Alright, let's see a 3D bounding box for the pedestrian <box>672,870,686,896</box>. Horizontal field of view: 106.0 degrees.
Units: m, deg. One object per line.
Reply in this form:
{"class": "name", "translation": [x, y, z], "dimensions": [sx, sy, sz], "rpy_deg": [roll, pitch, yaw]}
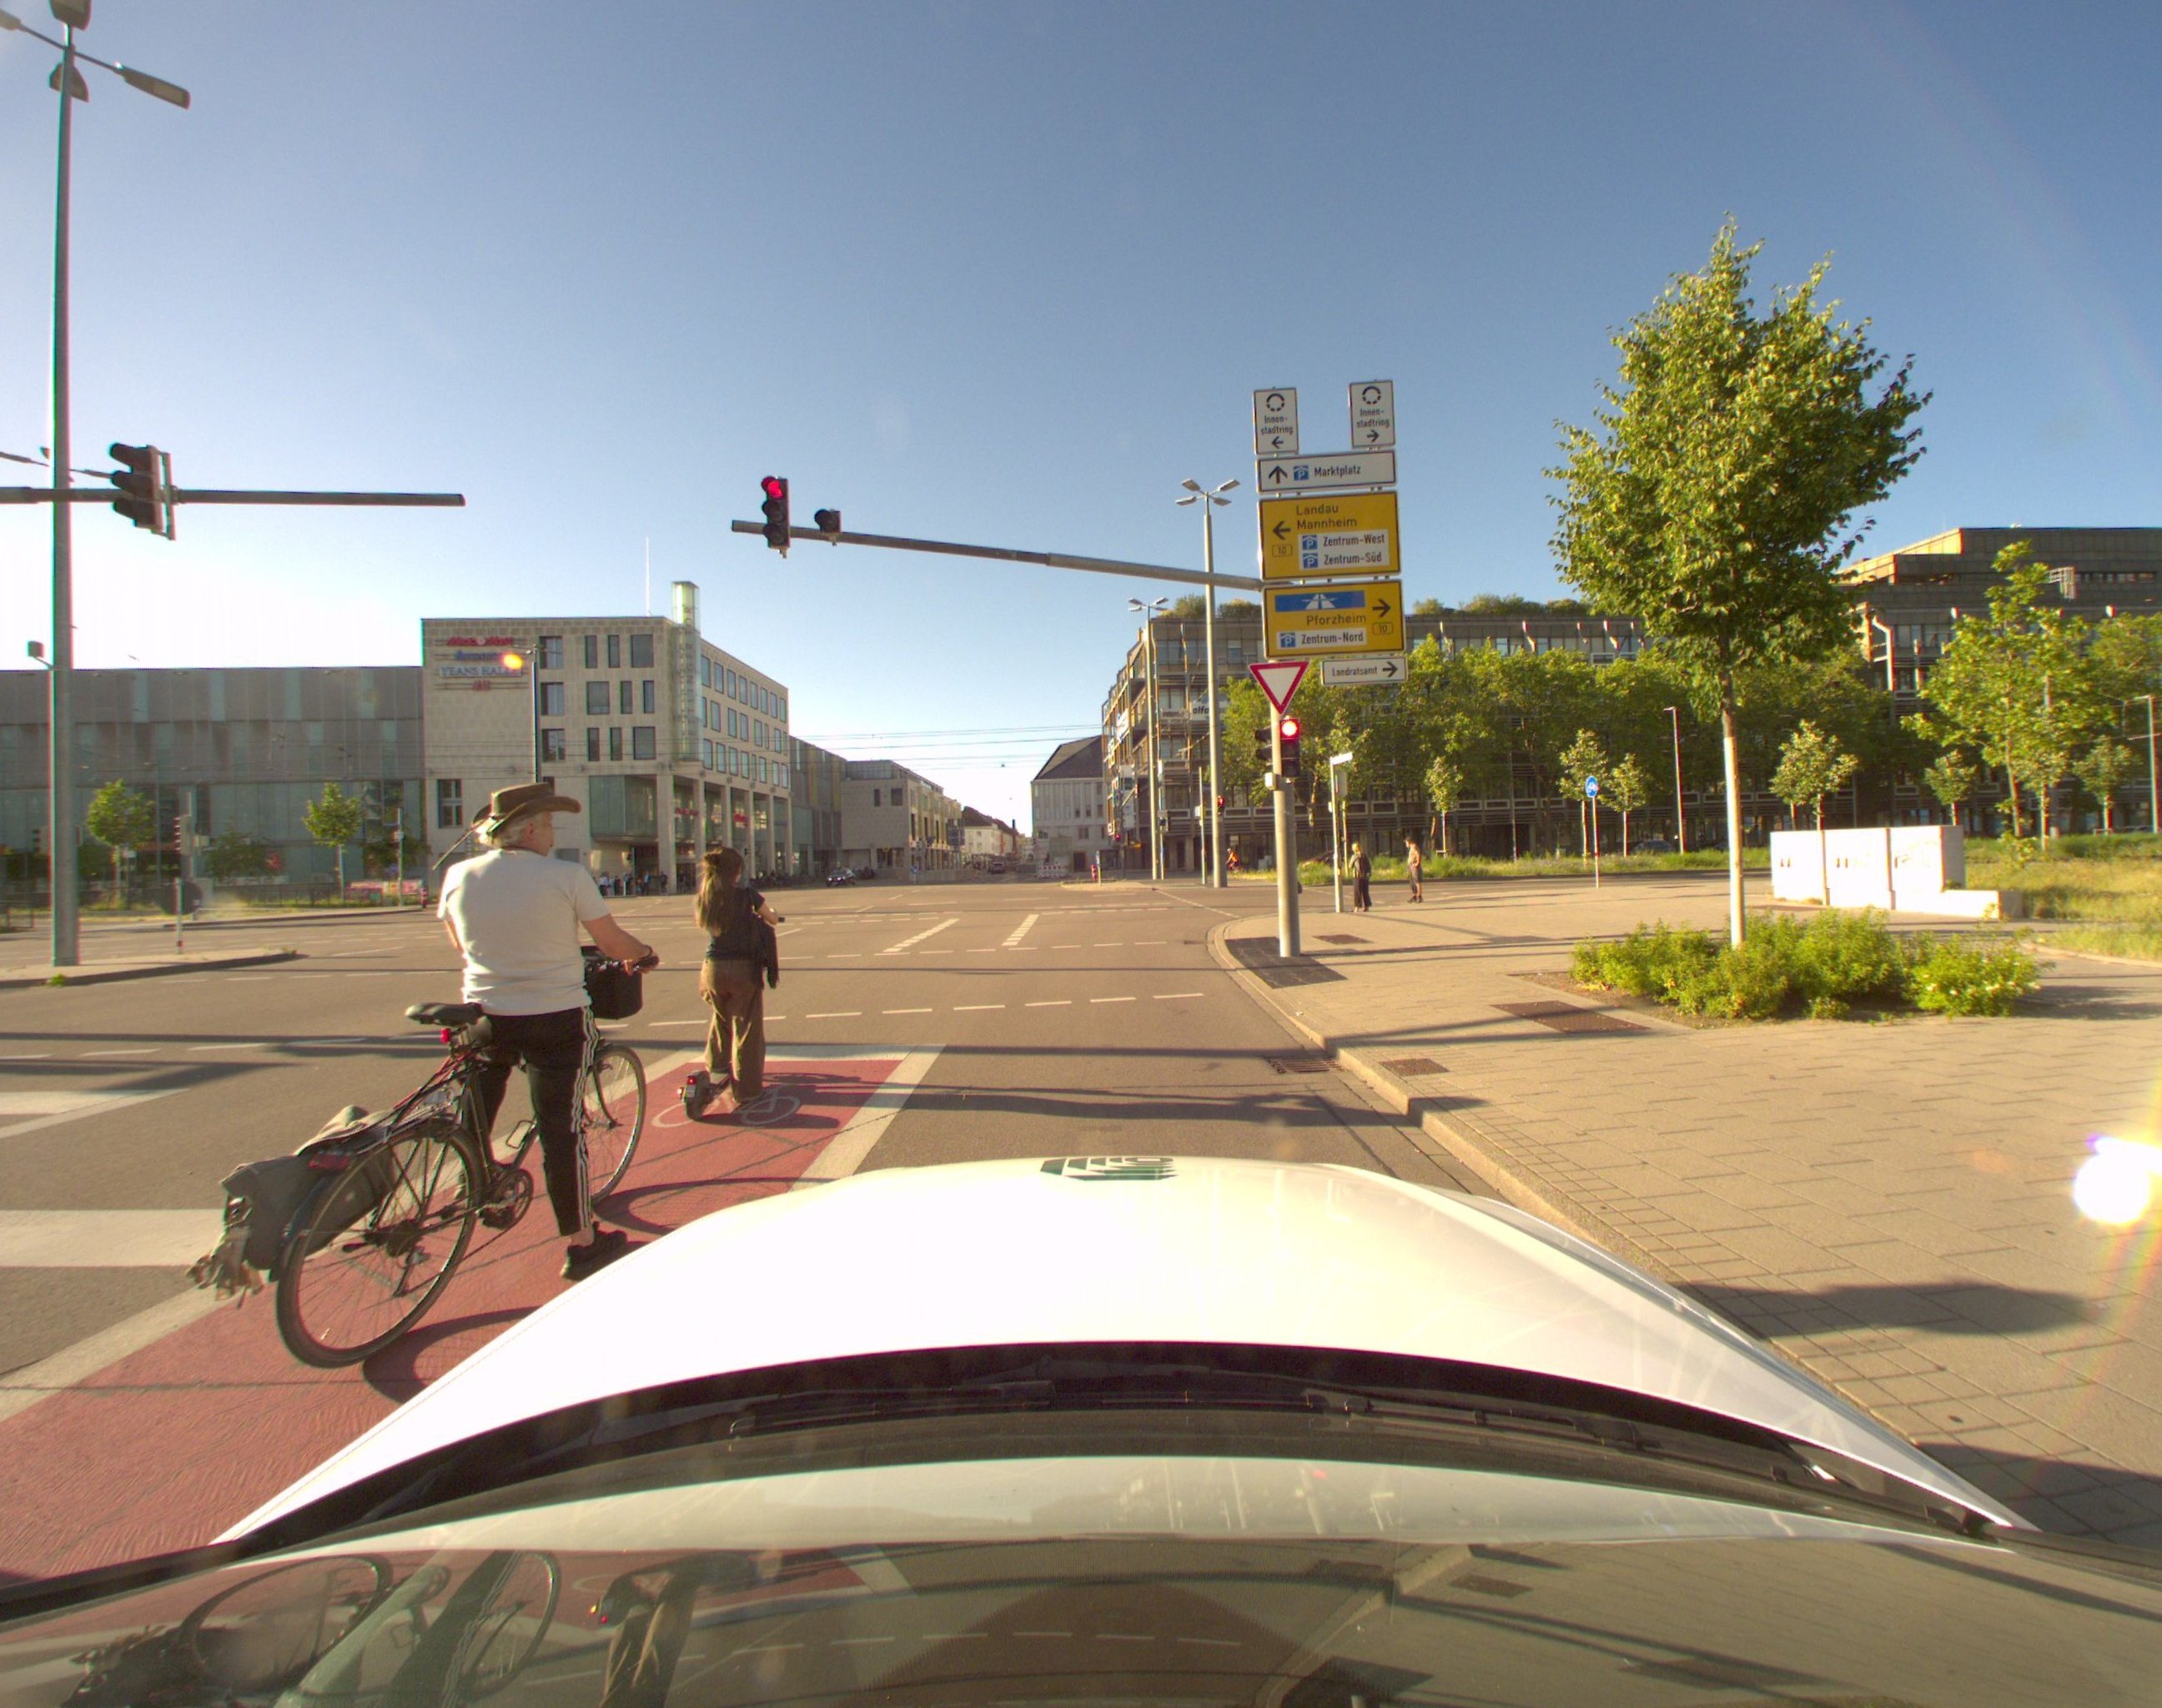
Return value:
{"class": "pedestrian", "translation": [-29.107, 2.061, 58.934], "dimensions": [0.801, 1.843, 0.855], "rpy_deg": [-2, 0, -30]}

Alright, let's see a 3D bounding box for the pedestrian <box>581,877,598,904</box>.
{"class": "pedestrian", "translation": [-35.171, 2.592, 58.318], "dimensions": [0.783, 1.885, 0.716], "rpy_deg": [0, -1, -4]}

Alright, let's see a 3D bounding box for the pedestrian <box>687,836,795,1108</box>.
{"class": "pedestrian", "translation": [-2.165, 0.709, 5.236], "dimensions": [0.549, 1.633, 0.569], "rpy_deg": [0, -1, -13]}

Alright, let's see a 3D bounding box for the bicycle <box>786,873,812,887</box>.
{"class": "bicycle", "translation": [-27.064, 2.477, 78.125], "dimensions": [2.299, 1.222, 0.612], "rpy_deg": [-2, -1, -1]}

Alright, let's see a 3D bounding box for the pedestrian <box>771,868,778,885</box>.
{"class": "pedestrian", "translation": [-29.498, 2.169, 78.395], "dimensions": [0.553, 1.679, 0.606], "rpy_deg": [0, 0, -8]}

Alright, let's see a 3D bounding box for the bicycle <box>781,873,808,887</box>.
{"class": "bicycle", "translation": [-26.697, 2.456, 75.957], "dimensions": [2.299, 1.222, 0.612], "rpy_deg": [-2, -1, -1]}

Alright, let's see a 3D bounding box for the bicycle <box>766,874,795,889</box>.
{"class": "bicycle", "translation": [-26.566, 2.423, 72.005], "dimensions": [2.299, 1.222, 0.612], "rpy_deg": [-2, -1, -1]}

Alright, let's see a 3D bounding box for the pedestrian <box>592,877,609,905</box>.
{"class": "pedestrian", "translation": [-33.870, 2.607, 57.367], "dimensions": [0.783, 1.885, 0.716], "rpy_deg": [0, -1, -4]}

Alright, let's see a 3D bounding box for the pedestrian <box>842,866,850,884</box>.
{"class": "pedestrian", "translation": [-22.697, 2.049, 78.708], "dimensions": [0.650, 1.719, 0.447], "rpy_deg": [-2, 0, -22]}

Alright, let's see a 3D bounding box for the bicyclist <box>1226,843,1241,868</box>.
{"class": "bicyclist", "translation": [8.833, 0.083, 47.098], "dimensions": [0.710, 1.437, 0.496], "rpy_deg": [0, -1, -7]}

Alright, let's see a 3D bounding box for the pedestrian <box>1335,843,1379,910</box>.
{"class": "pedestrian", "translation": [6.307, 0.503, 18.647], "dimensions": [0.785, 1.492, 0.644], "rpy_deg": [0, -1, 1]}

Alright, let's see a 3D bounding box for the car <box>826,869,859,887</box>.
{"class": "car", "translation": [-20.625, 2.046, 70.501], "dimensions": [1.625, 1.342, 3.999], "rpy_deg": [-4, -1, 0]}

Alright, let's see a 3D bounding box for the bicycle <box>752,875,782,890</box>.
{"class": "bicycle", "translation": [-26.735, 2.402, 69.368], "dimensions": [2.299, 1.222, 0.612], "rpy_deg": [-2, -1, -1]}

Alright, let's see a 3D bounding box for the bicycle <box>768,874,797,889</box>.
{"class": "bicycle", "translation": [-26.741, 2.431, 72.890], "dimensions": [2.299, 1.222, 0.612], "rpy_deg": [-2, -1, -1]}

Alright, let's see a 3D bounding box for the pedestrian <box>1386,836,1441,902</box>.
{"class": "pedestrian", "translation": [8.594, 0.377, 21.070], "dimensions": [0.881, 1.665, 0.958], "rpy_deg": [0, -1, -19]}

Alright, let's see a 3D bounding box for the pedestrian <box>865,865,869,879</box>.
{"class": "pedestrian", "translation": [-26.102, 2.185, 99.349], "dimensions": [0.521, 1.679, 0.580], "rpy_deg": [0, 0, -12]}

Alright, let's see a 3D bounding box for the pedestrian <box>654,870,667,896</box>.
{"class": "pedestrian", "translation": [-30.793, 2.113, 59.660], "dimensions": [0.800, 1.843, 0.856], "rpy_deg": [-2, 0, -26]}

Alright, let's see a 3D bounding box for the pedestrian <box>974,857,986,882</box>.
{"class": "pedestrian", "translation": [-7.703, 1.142, 61.941], "dimensions": [0.637, 1.890, 0.794], "rpy_deg": [-1, -1, 16]}

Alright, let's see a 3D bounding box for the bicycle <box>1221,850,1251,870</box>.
{"class": "bicycle", "translation": [8.966, 0.358, 47.112], "dimensions": [1.643, 1.154, 0.496], "rpy_deg": [0, -1, -8]}

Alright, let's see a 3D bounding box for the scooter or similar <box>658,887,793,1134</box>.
{"class": "scooter or similar", "translation": [-2.159, 0.873, 5.067], "dimensions": [0.547, 1.294, 1.188], "rpy_deg": [0, -1, -13]}

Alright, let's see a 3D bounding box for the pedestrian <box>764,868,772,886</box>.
{"class": "pedestrian", "translation": [-30.048, 2.198, 78.242], "dimensions": [0.570, 1.679, 0.614], "rpy_deg": [0, 0, -8]}

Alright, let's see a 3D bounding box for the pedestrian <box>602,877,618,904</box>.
{"class": "pedestrian", "translation": [-33.945, 2.619, 58.719], "dimensions": [0.714, 1.885, 0.786], "rpy_deg": [0, -1, -6]}

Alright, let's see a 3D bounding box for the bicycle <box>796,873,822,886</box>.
{"class": "bicycle", "translation": [-27.186, 2.504, 81.337], "dimensions": [2.299, 1.222, 0.612], "rpy_deg": [-2, -1, -1]}

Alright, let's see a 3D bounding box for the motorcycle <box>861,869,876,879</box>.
{"class": "motorcycle", "translation": [-25.782, 2.424, 98.732], "dimensions": [1.807, 1.206, 0.509], "rpy_deg": [0, 0, -14]}

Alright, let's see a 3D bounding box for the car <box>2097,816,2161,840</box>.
{"class": "car", "translation": [70.942, -1.742, 54.609], "dimensions": [3.892, 1.585, 1.656], "rpy_deg": [0, -1, -5]}

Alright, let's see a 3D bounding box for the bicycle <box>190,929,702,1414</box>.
{"class": "bicycle", "translation": [-2.151, 0.946, 3.131], "dimensions": [0.483, 1.156, 1.832], "rpy_deg": [0, -1, 2]}

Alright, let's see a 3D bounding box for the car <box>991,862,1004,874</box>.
{"class": "car", "translation": [-11.137, 1.853, 108.648], "dimensions": [1.735, 1.531, 3.848], "rpy_deg": [0, -1, -5]}

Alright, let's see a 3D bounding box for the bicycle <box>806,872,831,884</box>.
{"class": "bicycle", "translation": [-27.588, 2.542, 85.575], "dimensions": [2.299, 1.222, 0.612], "rpy_deg": [-2, -1, -1]}

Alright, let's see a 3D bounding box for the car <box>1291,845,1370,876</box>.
{"class": "car", "translation": [14.054, 0.360, 45.960], "dimensions": [3.880, 1.585, 1.656], "rpy_deg": [-2, -1, -6]}

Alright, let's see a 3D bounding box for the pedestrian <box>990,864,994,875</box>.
{"class": "pedestrian", "translation": [-12.846, 2.233, 117.808], "dimensions": [0.520, 1.679, 0.582], "rpy_deg": [0, 0, -5]}

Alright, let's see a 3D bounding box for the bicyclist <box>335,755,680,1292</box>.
{"class": "bicyclist", "translation": [-2.059, 0.546, 3.054], "dimensions": [0.658, 1.720, 0.866], "rpy_deg": [0, -1, 1]}

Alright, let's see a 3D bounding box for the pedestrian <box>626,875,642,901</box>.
{"class": "pedestrian", "translation": [-32.514, 2.463, 59.237], "dimensions": [0.783, 1.885, 0.716], "rpy_deg": [0, -1, -4]}

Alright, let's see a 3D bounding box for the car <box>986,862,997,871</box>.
{"class": "car", "translation": [-16.280, 2.275, 148.225], "dimensions": [1.782, 1.451, 3.993], "rpy_deg": [0, -1, -5]}

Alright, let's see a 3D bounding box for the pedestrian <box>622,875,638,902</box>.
{"class": "pedestrian", "translation": [-31.948, 2.446, 57.686], "dimensions": [0.783, 1.885, 0.716], "rpy_deg": [0, -1, -4]}

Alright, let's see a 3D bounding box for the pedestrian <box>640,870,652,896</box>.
{"class": "pedestrian", "translation": [-31.037, 2.064, 58.073], "dimensions": [0.718, 1.885, 0.781], "rpy_deg": [0, -1, -25]}

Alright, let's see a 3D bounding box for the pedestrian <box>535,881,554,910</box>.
{"class": "pedestrian", "translation": [-38.760, 2.976, 58.829], "dimensions": [0.883, 2.014, 0.771], "rpy_deg": [0, -1, -9]}

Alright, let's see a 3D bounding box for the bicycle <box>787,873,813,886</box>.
{"class": "bicycle", "translation": [-27.630, 2.497, 80.120], "dimensions": [2.299, 1.222, 0.612], "rpy_deg": [-2, -1, -1]}

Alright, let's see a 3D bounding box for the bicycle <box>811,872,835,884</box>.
{"class": "bicycle", "translation": [-27.424, 2.549, 86.641], "dimensions": [2.299, 1.222, 0.612], "rpy_deg": [-2, -1, -1]}

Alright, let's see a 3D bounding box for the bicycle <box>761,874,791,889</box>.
{"class": "bicycle", "translation": [-26.463, 2.411, 70.645], "dimensions": [2.299, 1.222, 0.612], "rpy_deg": [-2, -1, -1]}
